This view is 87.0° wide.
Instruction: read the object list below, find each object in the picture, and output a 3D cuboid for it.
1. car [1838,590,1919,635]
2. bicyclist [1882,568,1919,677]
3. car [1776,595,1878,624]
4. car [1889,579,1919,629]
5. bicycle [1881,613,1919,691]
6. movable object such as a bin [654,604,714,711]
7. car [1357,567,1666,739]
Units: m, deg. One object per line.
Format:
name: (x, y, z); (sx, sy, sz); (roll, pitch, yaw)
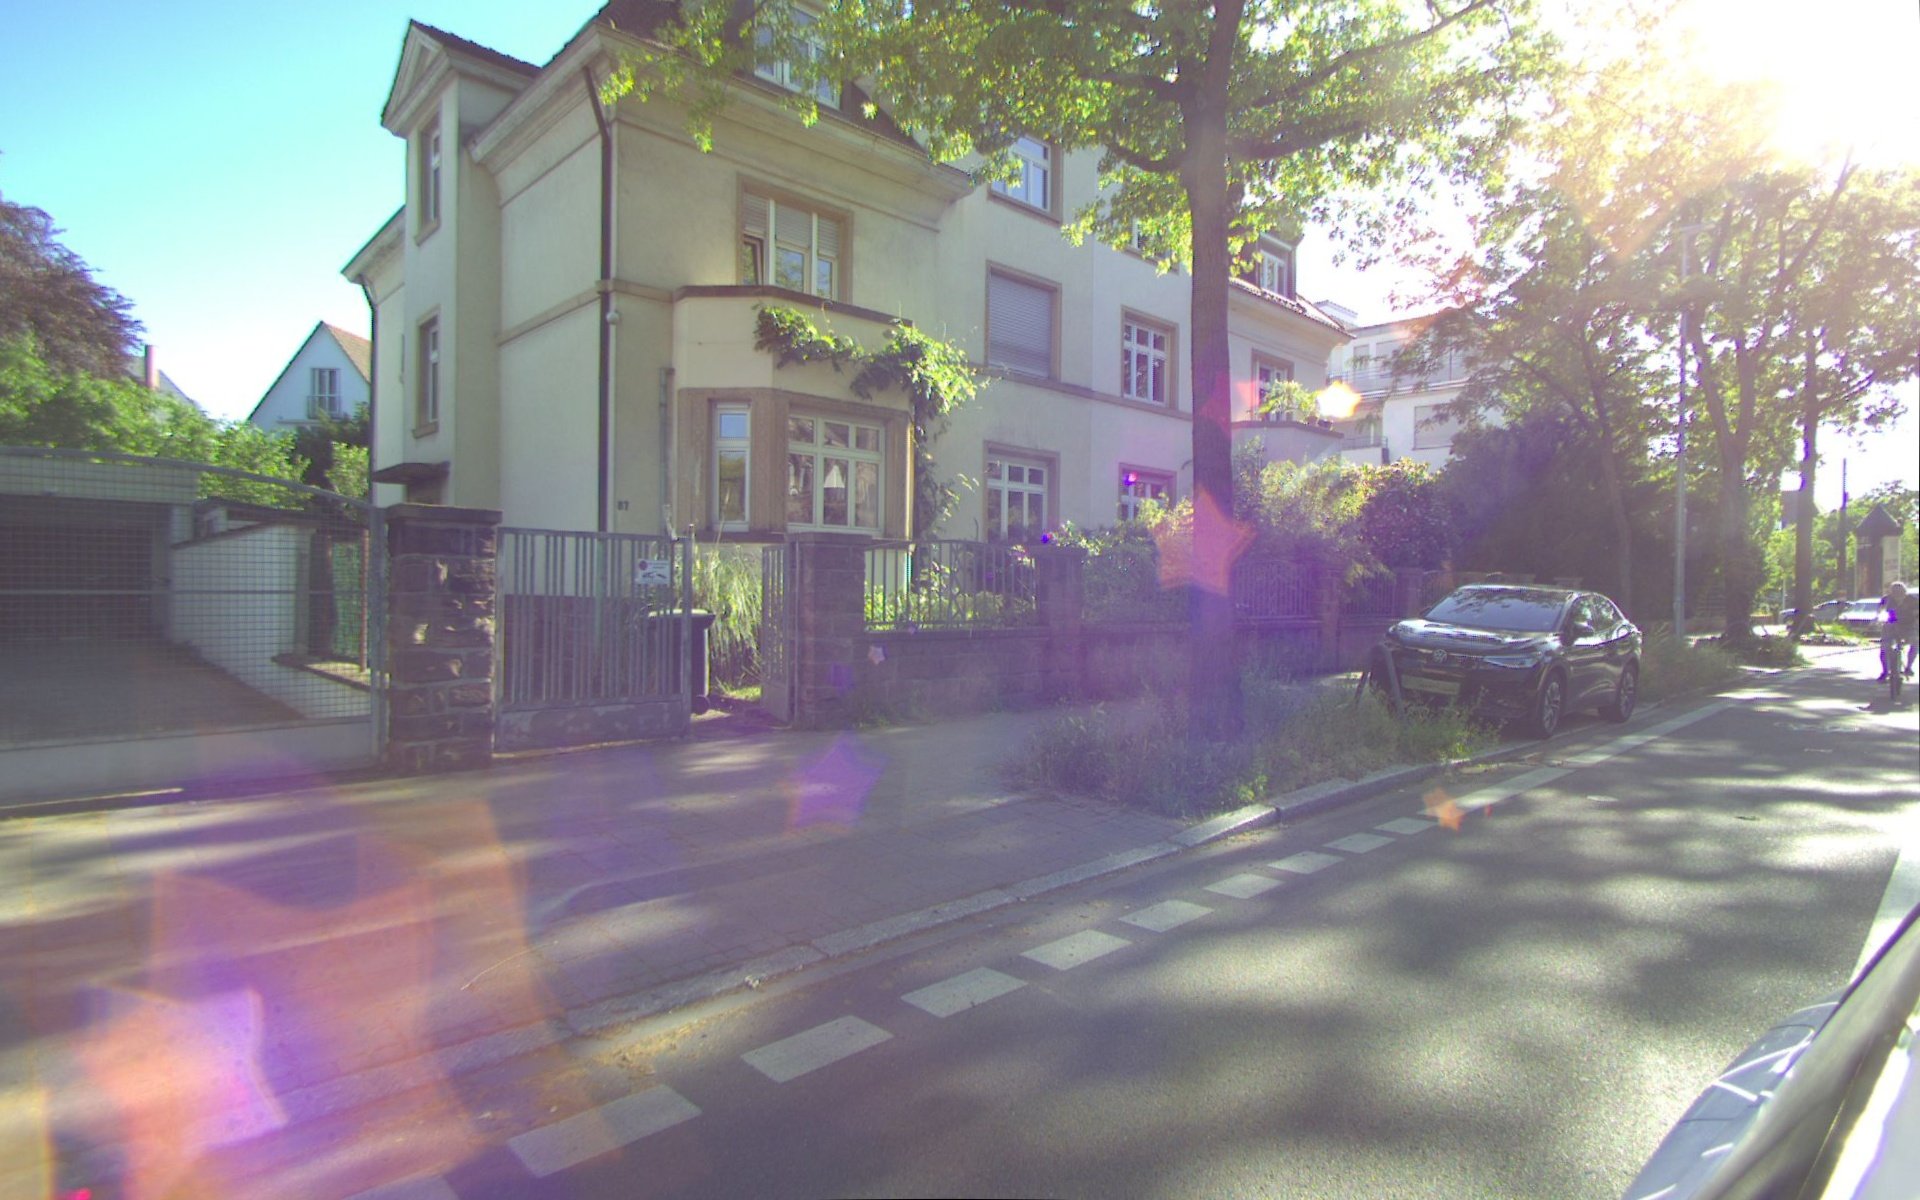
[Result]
car: (31.517, 0.382, 34.277); (4.181, 1.427, 1.901); (0, 1, -38)
bicyclist: (14.765, 0.334, 15.675); (0.654, 1.662, 0.643); (0, 0, -41)
car: (46.072, 0.460, 53.843); (1.784, 1.459, 3.990); (0, 1, -44)
car: (36.677, 0.129, 37.859); (4.580, 1.808, 1.903); (0, 1, -35)
bicycle: (14.892, 0.788, 15.767); (1.823, 1.125, 0.588); (0, 0, -41)
movable object such as a bin: (-2.918, 0.586, 10.675); (0.551, 1.062, 0.676); (0, 0, -20)
car: (6.714, 0.495, 12.140); (4.186, 1.619, 1.917); (0, 4, -42)
